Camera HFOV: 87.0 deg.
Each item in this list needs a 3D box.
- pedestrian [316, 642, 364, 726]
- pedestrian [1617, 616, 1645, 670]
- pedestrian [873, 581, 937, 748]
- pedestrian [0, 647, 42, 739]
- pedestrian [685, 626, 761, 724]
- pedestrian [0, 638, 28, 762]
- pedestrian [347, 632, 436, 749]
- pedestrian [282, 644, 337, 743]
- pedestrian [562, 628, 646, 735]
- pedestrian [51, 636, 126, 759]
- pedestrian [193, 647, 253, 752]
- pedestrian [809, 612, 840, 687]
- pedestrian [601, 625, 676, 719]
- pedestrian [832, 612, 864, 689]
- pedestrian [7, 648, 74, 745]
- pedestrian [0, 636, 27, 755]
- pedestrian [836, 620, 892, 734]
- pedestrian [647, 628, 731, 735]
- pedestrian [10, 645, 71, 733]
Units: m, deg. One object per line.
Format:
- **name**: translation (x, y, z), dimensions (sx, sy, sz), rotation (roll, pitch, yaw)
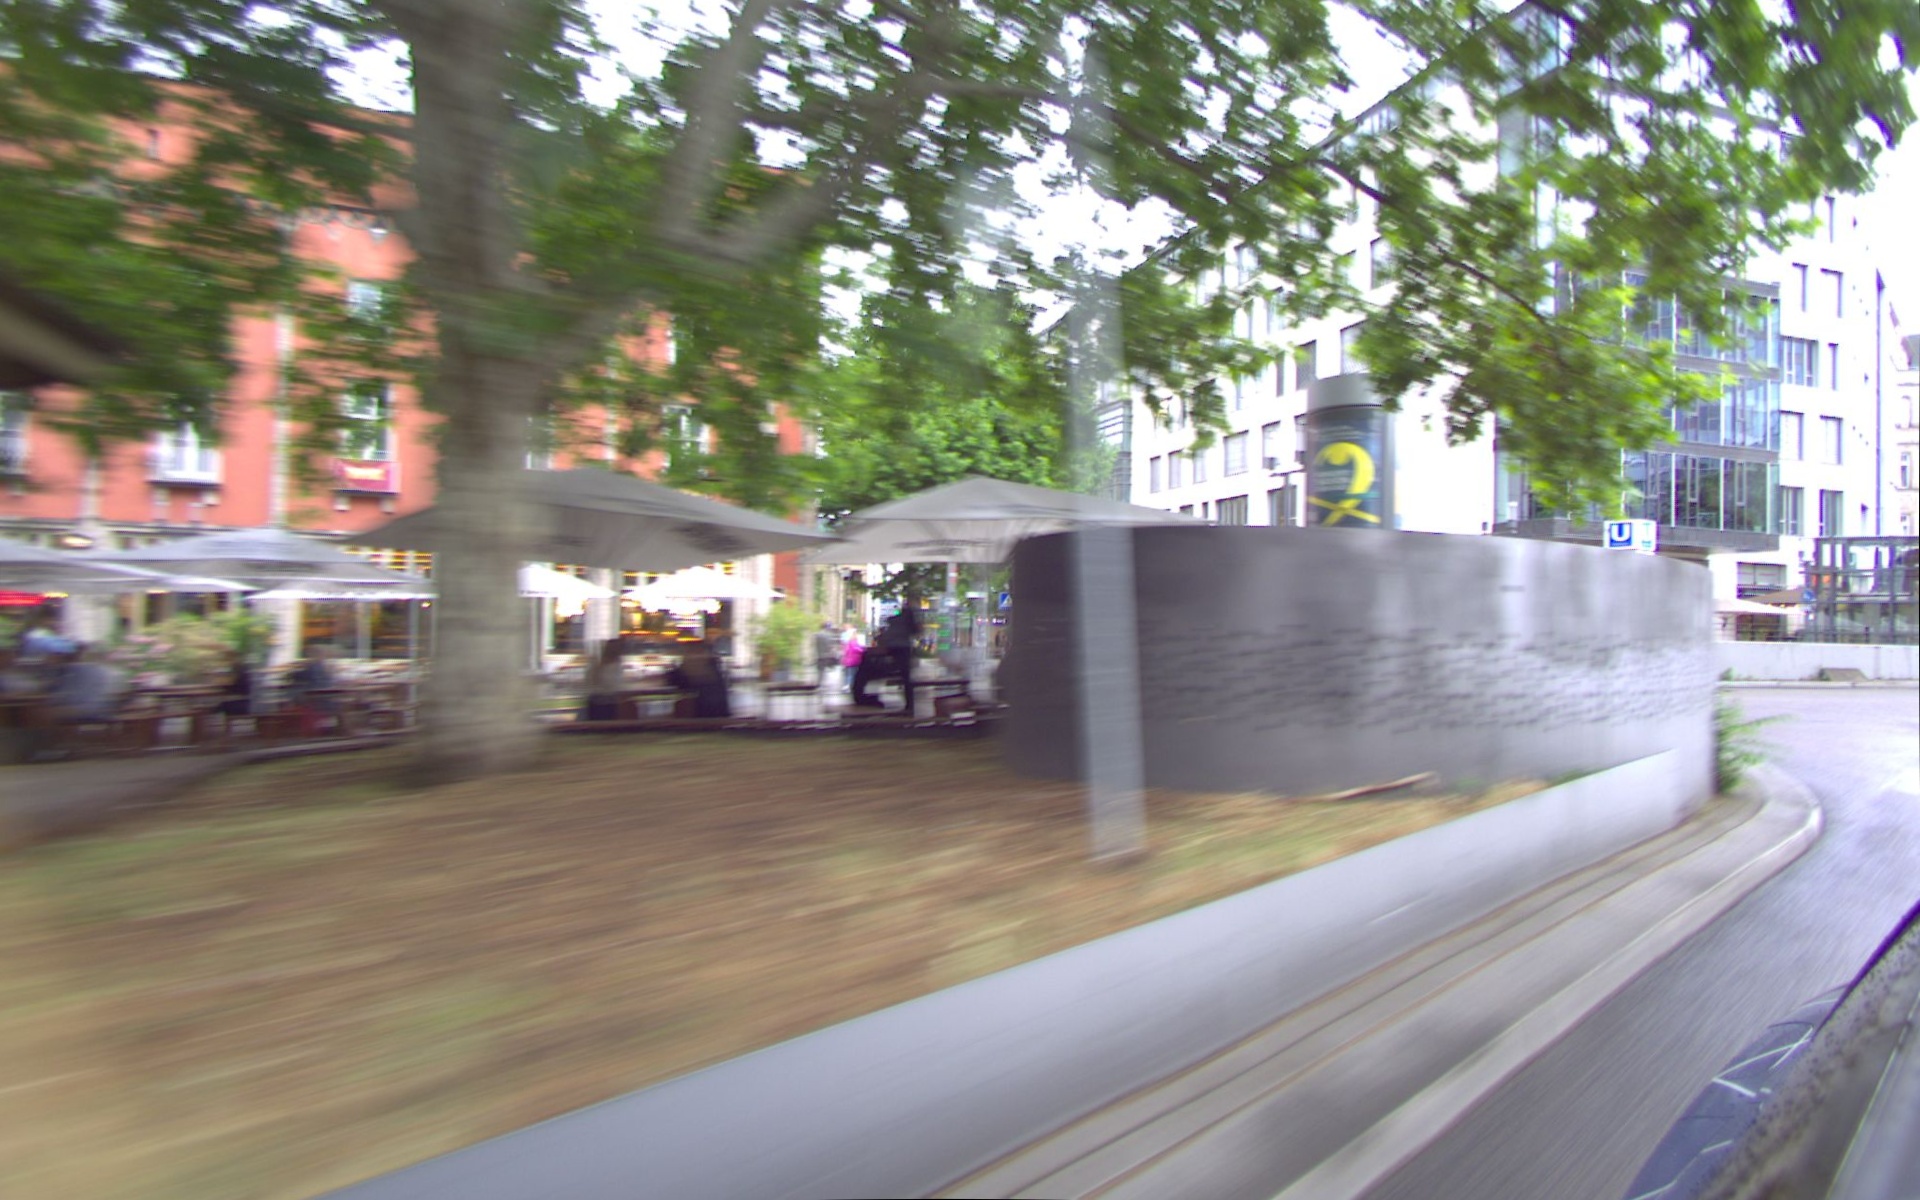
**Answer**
- **pedestrian**: translation (-9.727, 1.297, 15.872), dimensions (0.598, 1.266, 0.630), rotation (0, -3, -36)
- **pedestrian**: translation (24.282, 1.536, 36.613), dimensions (0.631, 1.918, 0.585), rotation (0, 0, 8)
- **pedestrian**: translation (-0.598, 0.666, 10.872), dimensions (0.605, 1.723, 0.726), rotation (0, 0, -9)
- **pedestrian**: translation (-13.514, 1.313, 14.400), dimensions (0.598, 1.266, 0.630), rotation (0, -3, -36)
- **pedestrian**: translation (-2.485, 0.767, 10.591), dimensions (0.584, 0.964, 0.618), rotation (0, 0, -36)
- **pedestrian**: translation (-11.391, 1.174, 11.871), dimensions (0.607, 1.430, 0.621), rotation (-4, -3, 42)
- **pedestrian**: translation (-5.071, 0.779, 9.018), dimensions (0.627, 0.964, 0.618), rotation (0, 0, -36)
- **pedestrian**: translation (-8.787, 1.243, 13.663), dimensions (0.598, 1.266, 0.630), rotation (0, -3, -36)
- **pedestrian**: translation (-3.457, 0.772, 9.819), dimensions (0.627, 0.964, 0.618), rotation (0, 0, -36)
- **pedestrian**: translation (-10.624, 1.171, 12.344), dimensions (0.607, 1.430, 0.621), rotation (-4, -3, 42)
- **pedestrian**: translation (-9.384, 1.247, 12.898), dimensions (0.598, 1.266, 0.630), rotation (0, -3, -36)
- **pedestrian**: translation (-3.625, 1.306, 26.967), dimensions (0.771, 1.958, 0.627), rotation (0, -2, -10)
- **pedestrian**: translation (-3.536, 0.768, 11.114), dimensions (0.627, 0.964, 0.618), rotation (0, 0, -36)
- **pedestrian**: translation (-2.929, 1.306, 26.336), dimensions (0.771, 1.958, 0.627), rotation (0, -2, -10)
- **pedestrian**: translation (-12.644, 1.312, 13.933), dimensions (0.598, 1.266, 0.630), rotation (0, -3, -36)
- **pedestrian**: translation (-11.932, 1.174, 12.447), dimensions (0.607, 1.430, 0.621), rotation (-4, -3, 42)
- **pedestrian**: translation (-1.138, 0.884, 11.911), dimensions (0.605, 1.285, 0.726), rotation (0, 0, -9)
- **pedestrian**: translation (-2.626, 0.769, 9.798), dimensions (0.607, 0.964, 0.595), rotation (0, 0, -37)
- **pedestrian**: translation (-13.705, 1.311, 15.097), dimensions (0.598, 1.266, 0.630), rotation (0, -3, -36)
